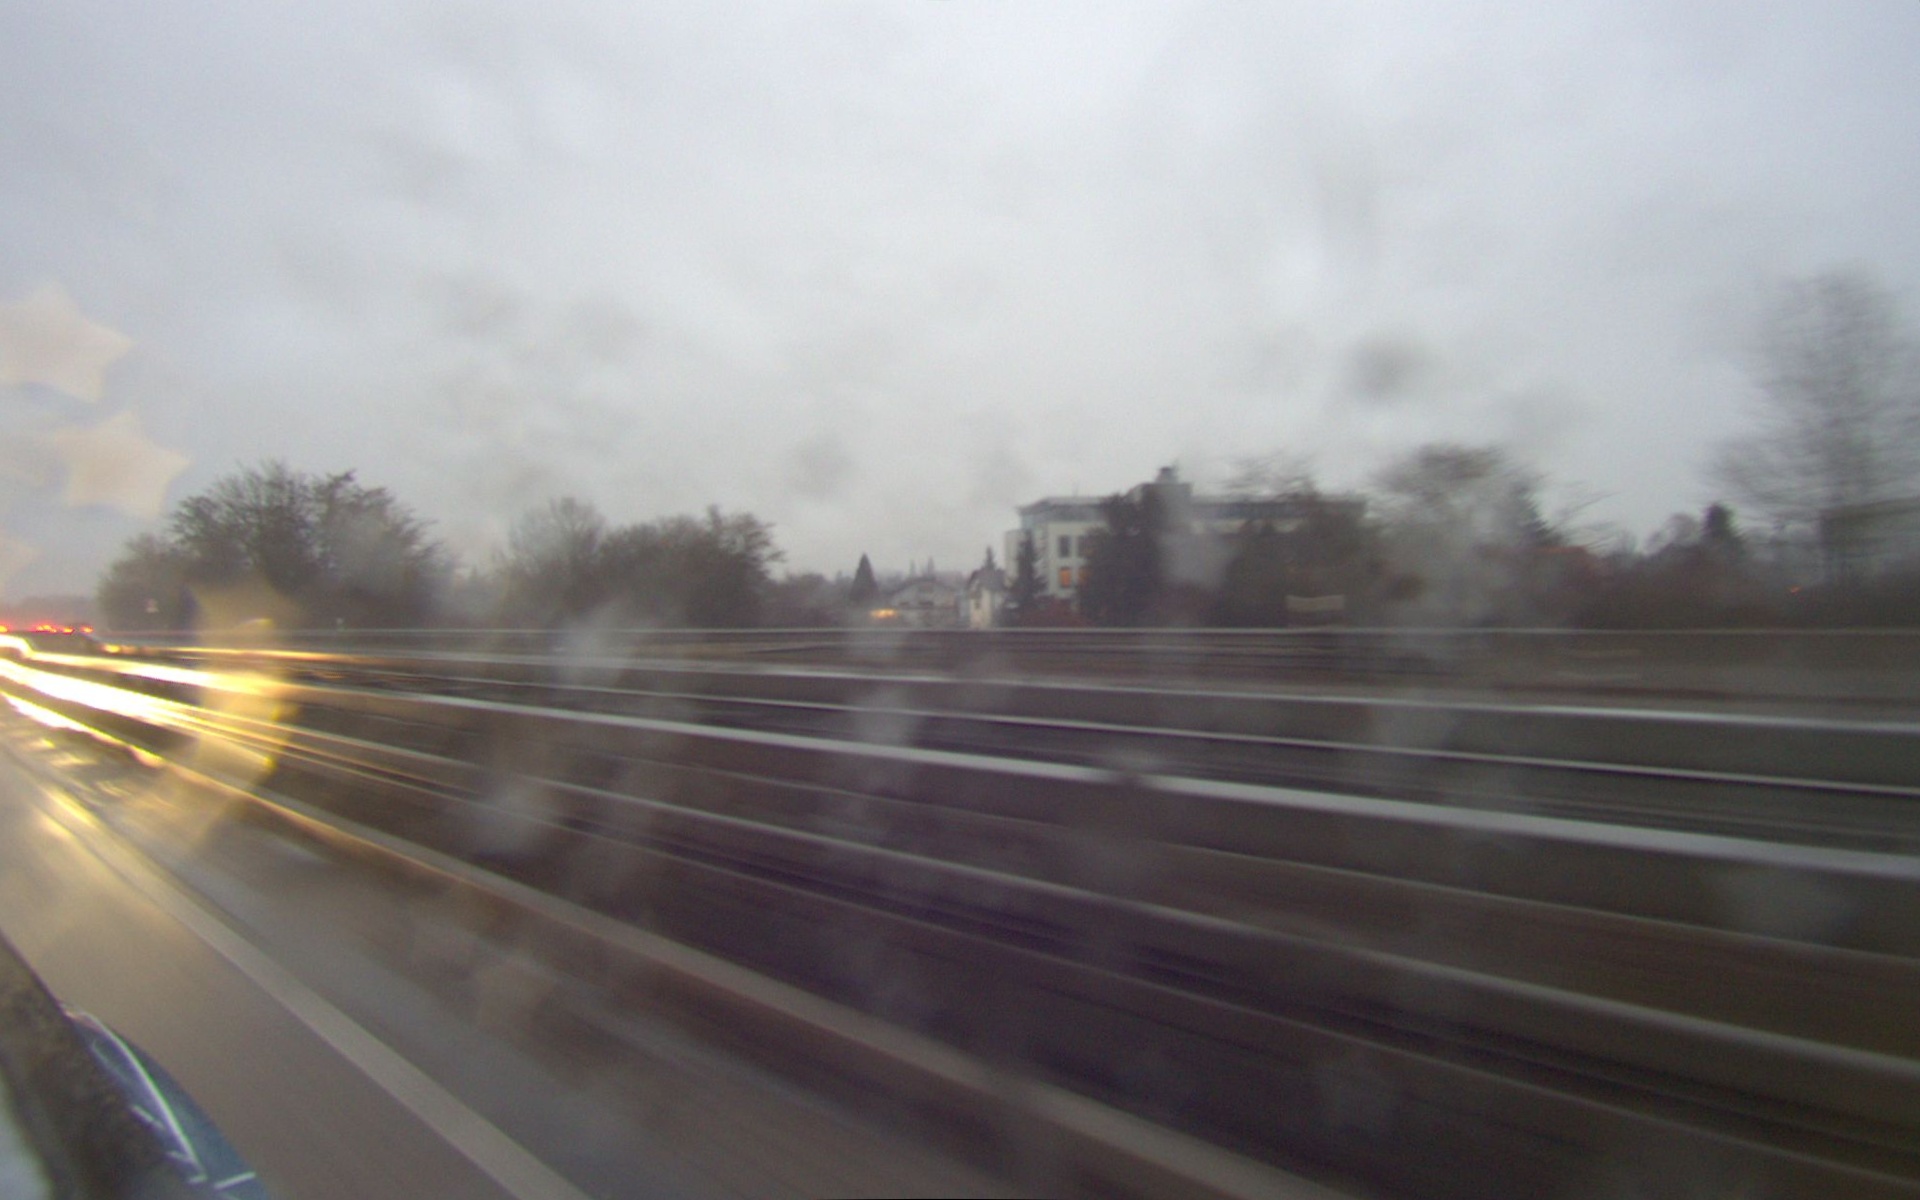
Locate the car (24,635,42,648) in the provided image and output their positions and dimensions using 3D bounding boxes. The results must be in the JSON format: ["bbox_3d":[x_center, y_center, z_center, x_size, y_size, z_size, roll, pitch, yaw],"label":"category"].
[{"bbox_3d":[-137.821,6.140,150.470,1.725,1.847,4.138,2,-2,-45],"label":"car"}]

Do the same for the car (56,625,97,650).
[{"bbox_3d":[-68.506,2.926,78.435,4.704,1.797,1.875,-2,0,43],"label":"car"}]

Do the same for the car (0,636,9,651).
[{"bbox_3d":[-115.112,5.242,121.090,1.720,1.652,4.003,-3,1,-44],"label":"car"}]
